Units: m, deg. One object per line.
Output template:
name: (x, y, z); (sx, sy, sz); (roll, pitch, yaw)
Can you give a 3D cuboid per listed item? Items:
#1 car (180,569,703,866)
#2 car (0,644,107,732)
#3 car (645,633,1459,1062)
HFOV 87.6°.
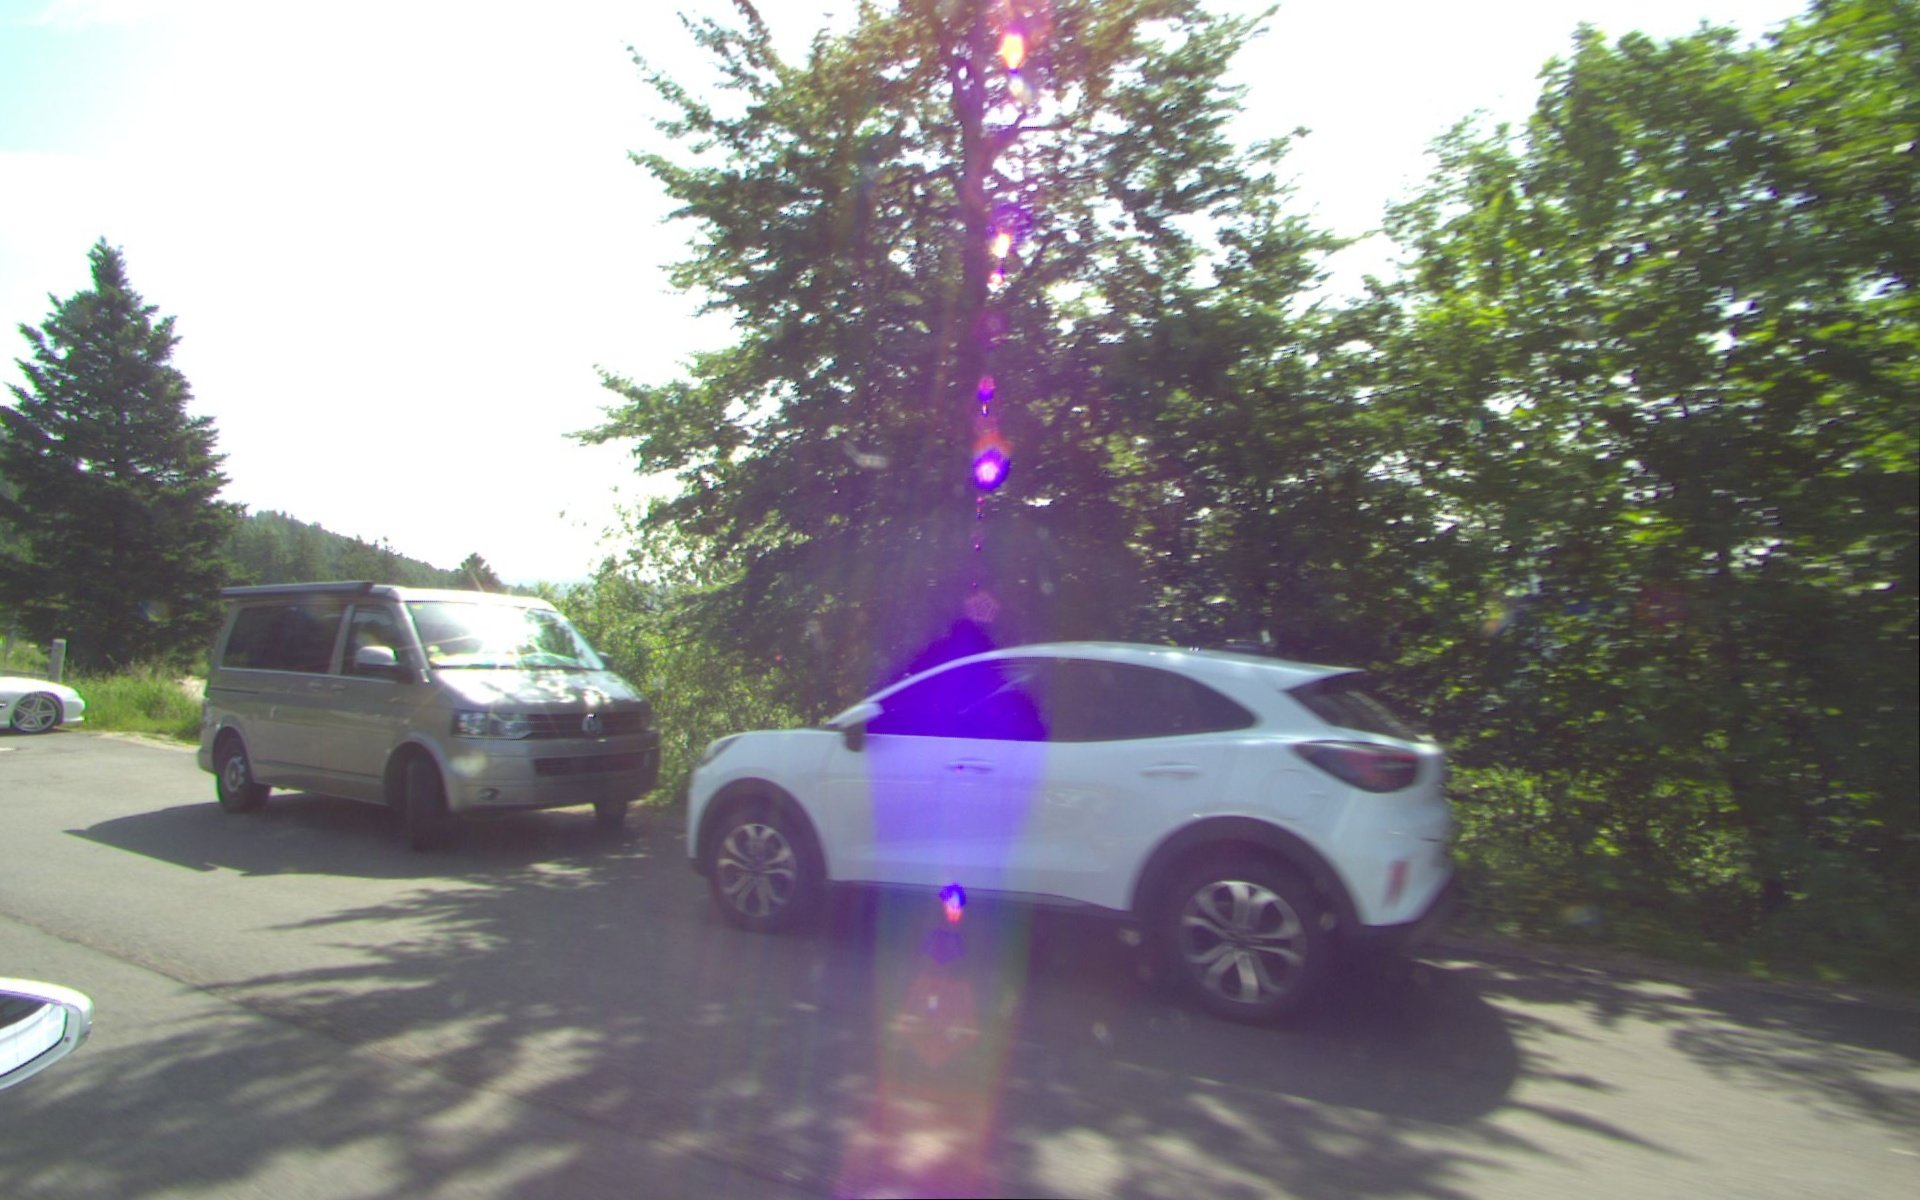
car: (-4.691, 0.856, 8.840); (4.750, 1.996, 1.903); (0, -3, 33)
car: (-15.520, 1.275, 14.675); (1.553, 1.314, 4.468); (1, -4, 14)
car: (0.403, 0.982, 5.351); (3.988, 1.536, 1.679); (-1, -4, 29)
